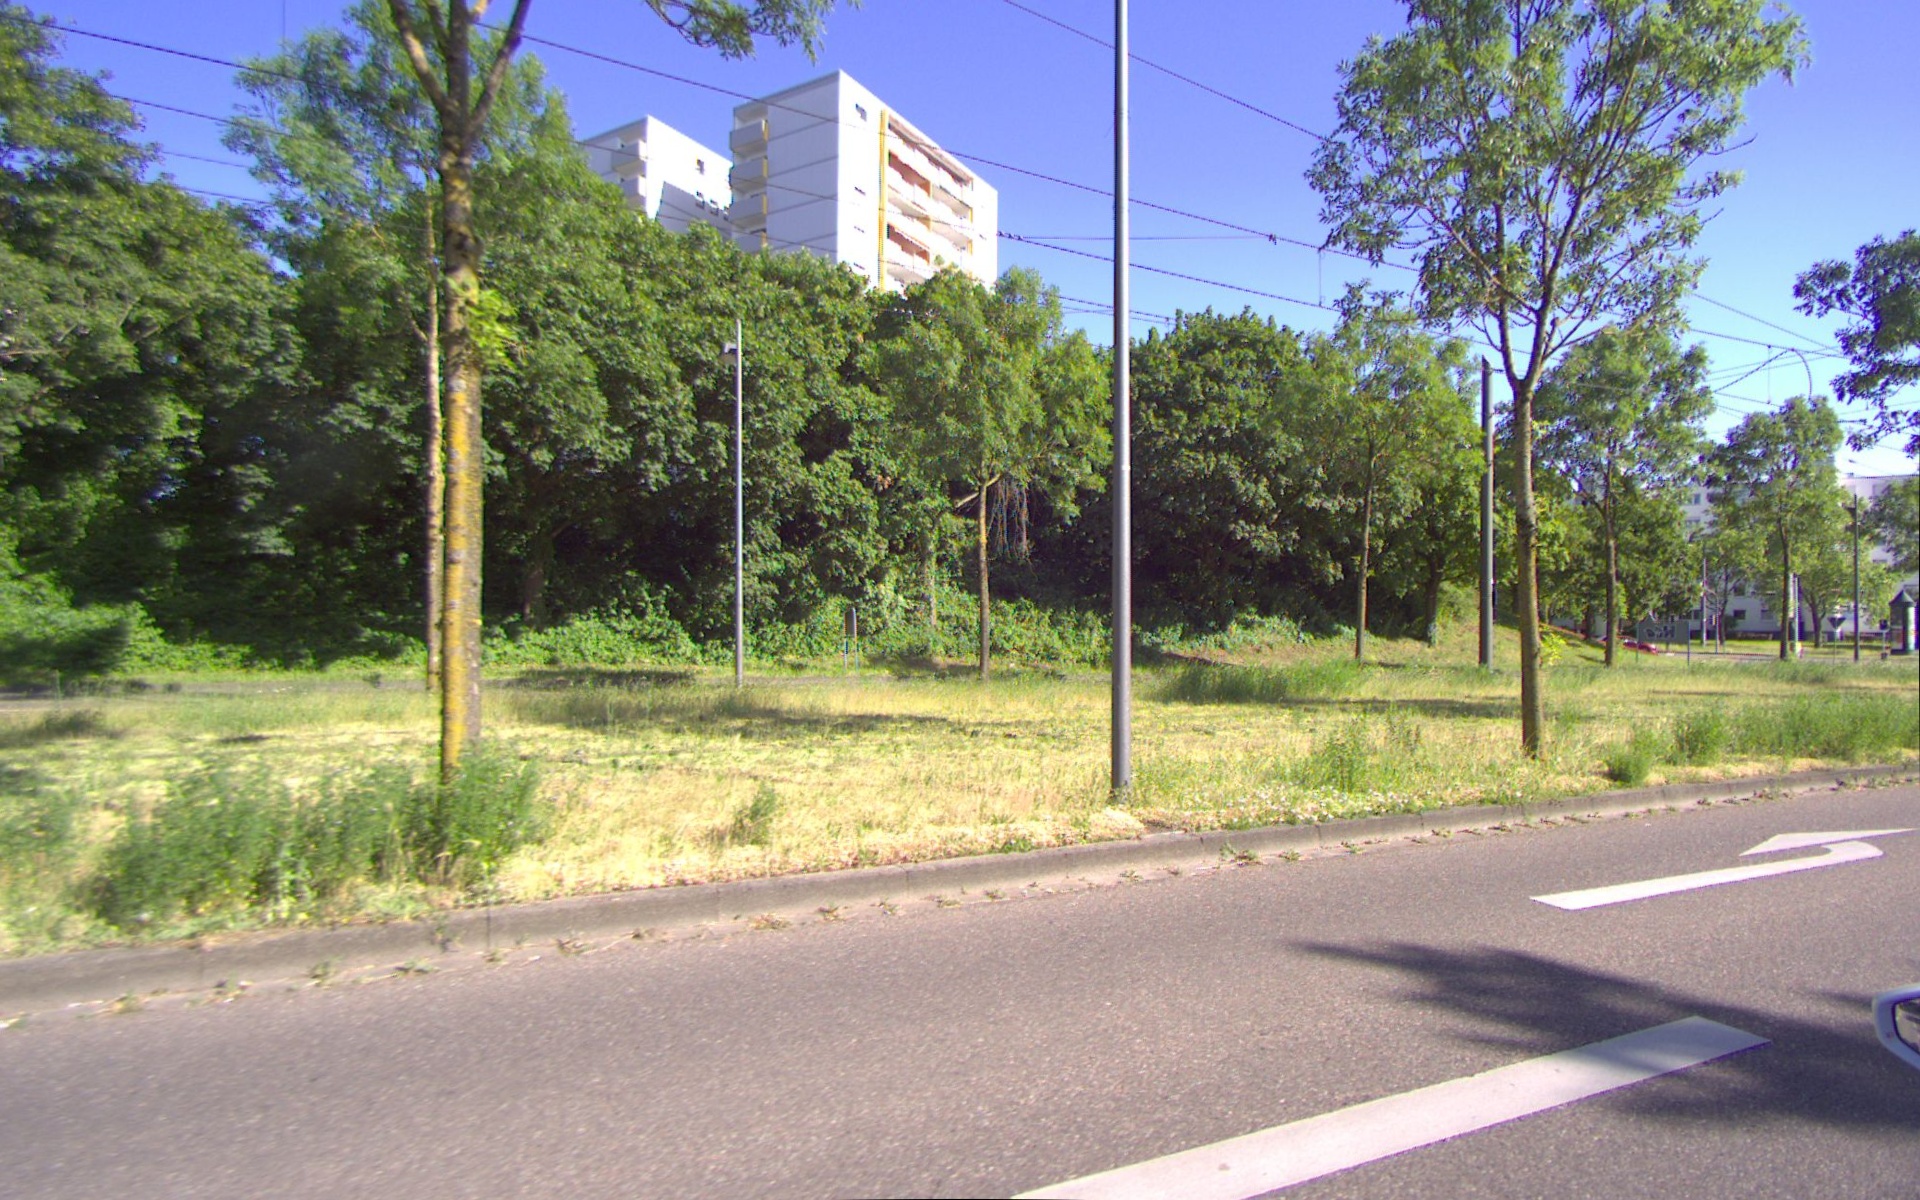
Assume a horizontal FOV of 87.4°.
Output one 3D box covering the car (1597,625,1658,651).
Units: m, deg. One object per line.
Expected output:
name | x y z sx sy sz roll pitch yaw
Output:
car | 55.876 3.146 84.139 4.203 1.926 1.994 2 0 34
